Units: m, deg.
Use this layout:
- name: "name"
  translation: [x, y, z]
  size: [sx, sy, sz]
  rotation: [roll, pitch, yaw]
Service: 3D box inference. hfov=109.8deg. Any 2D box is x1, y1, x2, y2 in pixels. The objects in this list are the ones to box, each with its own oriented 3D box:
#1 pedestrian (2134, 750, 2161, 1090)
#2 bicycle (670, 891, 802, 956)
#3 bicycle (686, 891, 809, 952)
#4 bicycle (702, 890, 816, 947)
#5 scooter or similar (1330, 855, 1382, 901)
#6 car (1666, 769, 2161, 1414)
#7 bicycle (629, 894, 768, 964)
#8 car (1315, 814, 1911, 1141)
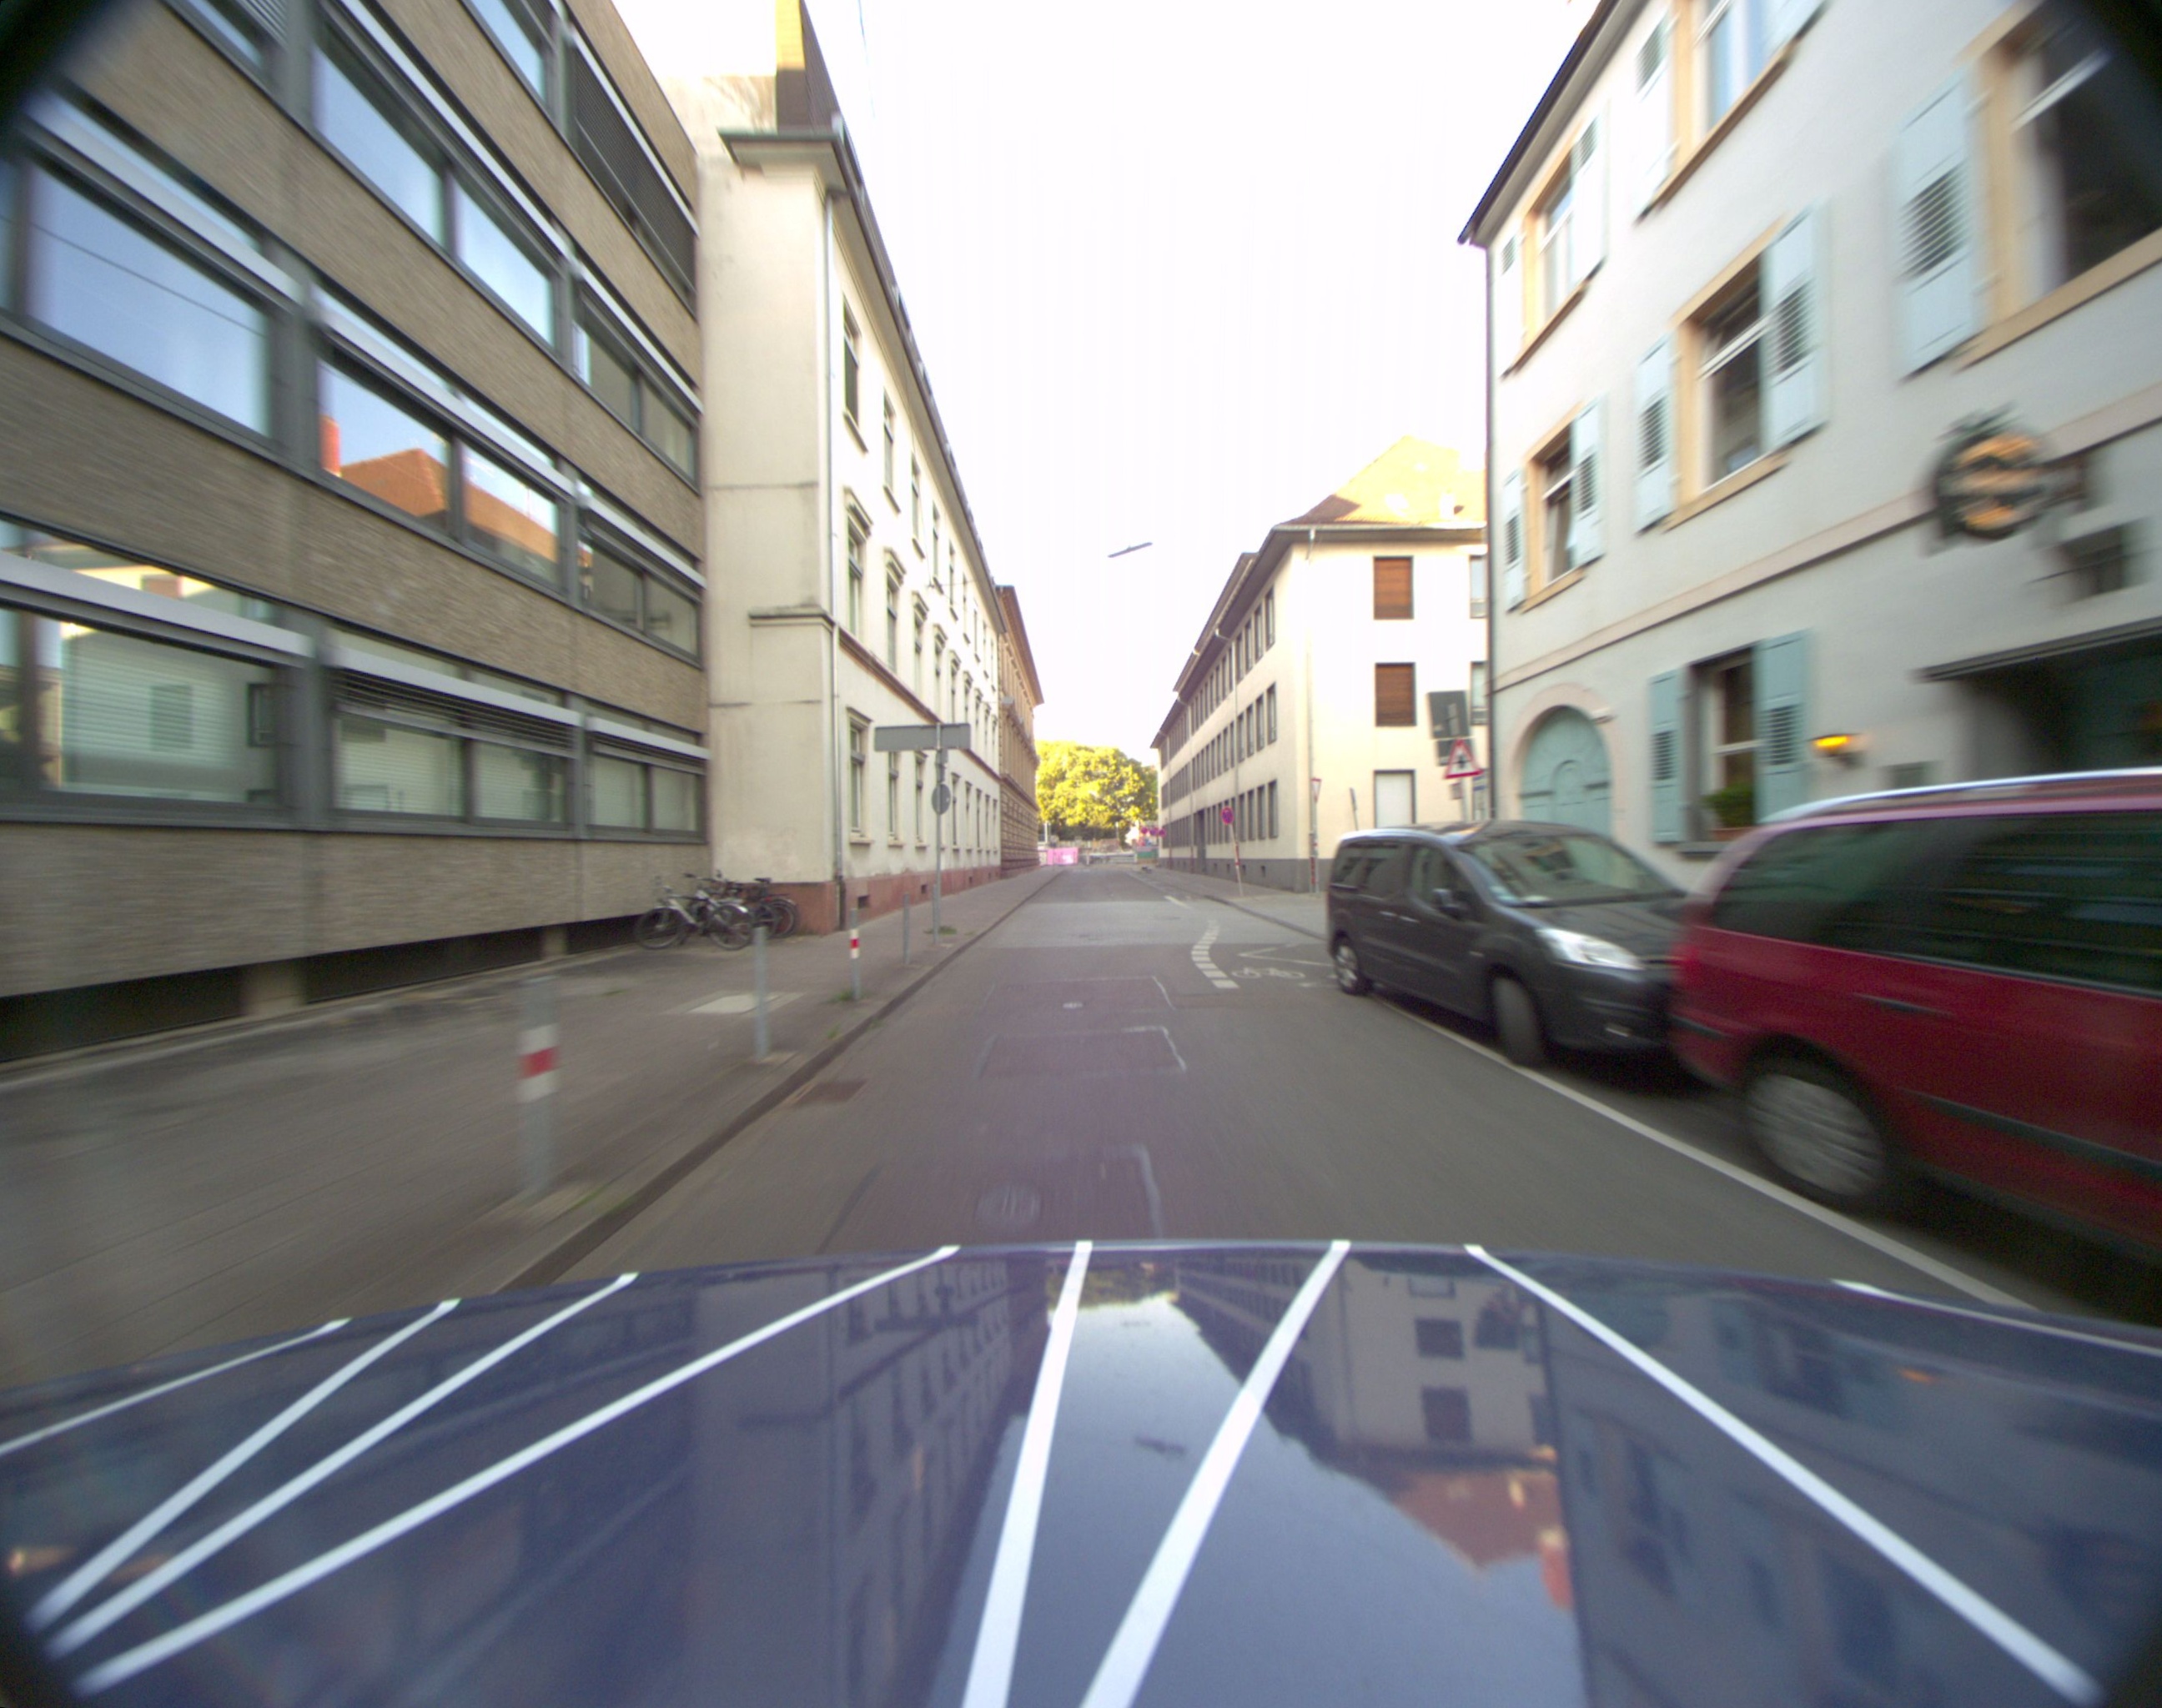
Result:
- name: "pedestrian"
  translation: [5.740, 0.335, 3.740]
  size: [0.450, 1.740, 0.470]
  rotation: [-1, 1, 2]
- name: "bicycle"
  translation: [-5.452, 1.087, 12.086]
  size: [1.801, 0.917, 0.538]
  rotation: [-1, 1, -7]
- name: "bicycle"
  translation: [-5.609, 1.133, 12.845]
  size: [1.801, 0.917, 0.516]
  rotation: [-1, 1, -7]
- name: "bicycle"
  translation: [-5.661, 1.129, 13.415]
  size: [1.800, 0.917, 0.396]
  rotation: [-1, 1, -3]
- name: "scooter or similar"
  translation: [7.883, 0.666, 21.784]
  size: [1.367, 1.194, 0.532]
  rotation: [-5, 2, -23]
- name: "car"
  translation: [3.888, 0.643, 1.603]
  size: [1.777, 1.800, 4.509]
  rotation: [-2, 0, -1]
- name: "bicycle"
  translation: [-5.642, 1.099, 11.273]
  size: [1.745, 0.917, 0.538]
  rotation: [-1, 1, -6]
- name: "car"
  translation: [3.746, 0.687, 6.561]
  size: [1.882, 1.800, 4.449]
  rotation: [-2, 0, -2]
